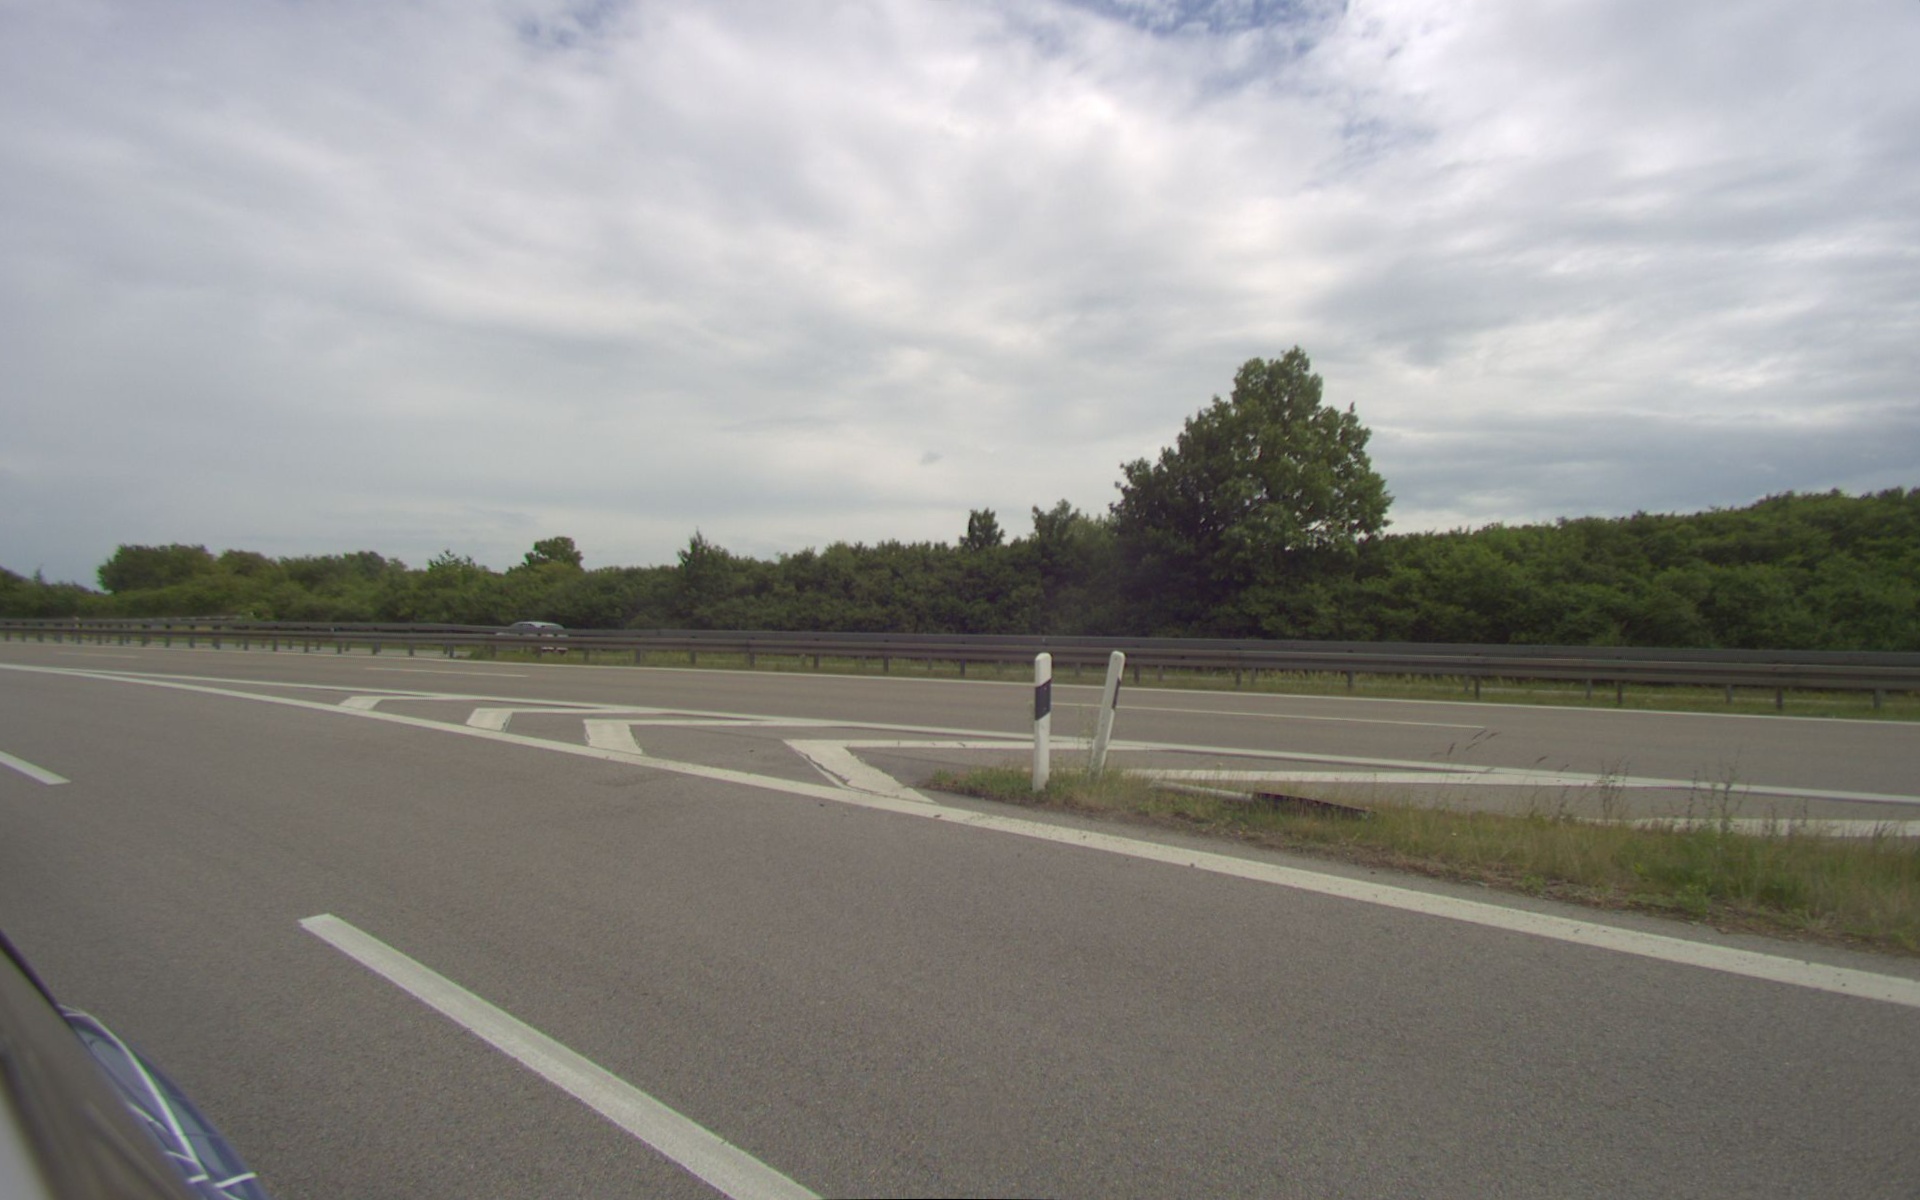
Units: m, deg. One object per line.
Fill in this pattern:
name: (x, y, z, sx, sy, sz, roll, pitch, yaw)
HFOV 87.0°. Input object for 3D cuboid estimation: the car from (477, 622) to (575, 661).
car: (-18.692, 1.757, 43.542, 3.982, 1.608, 1.792, 0, -1, 29)
